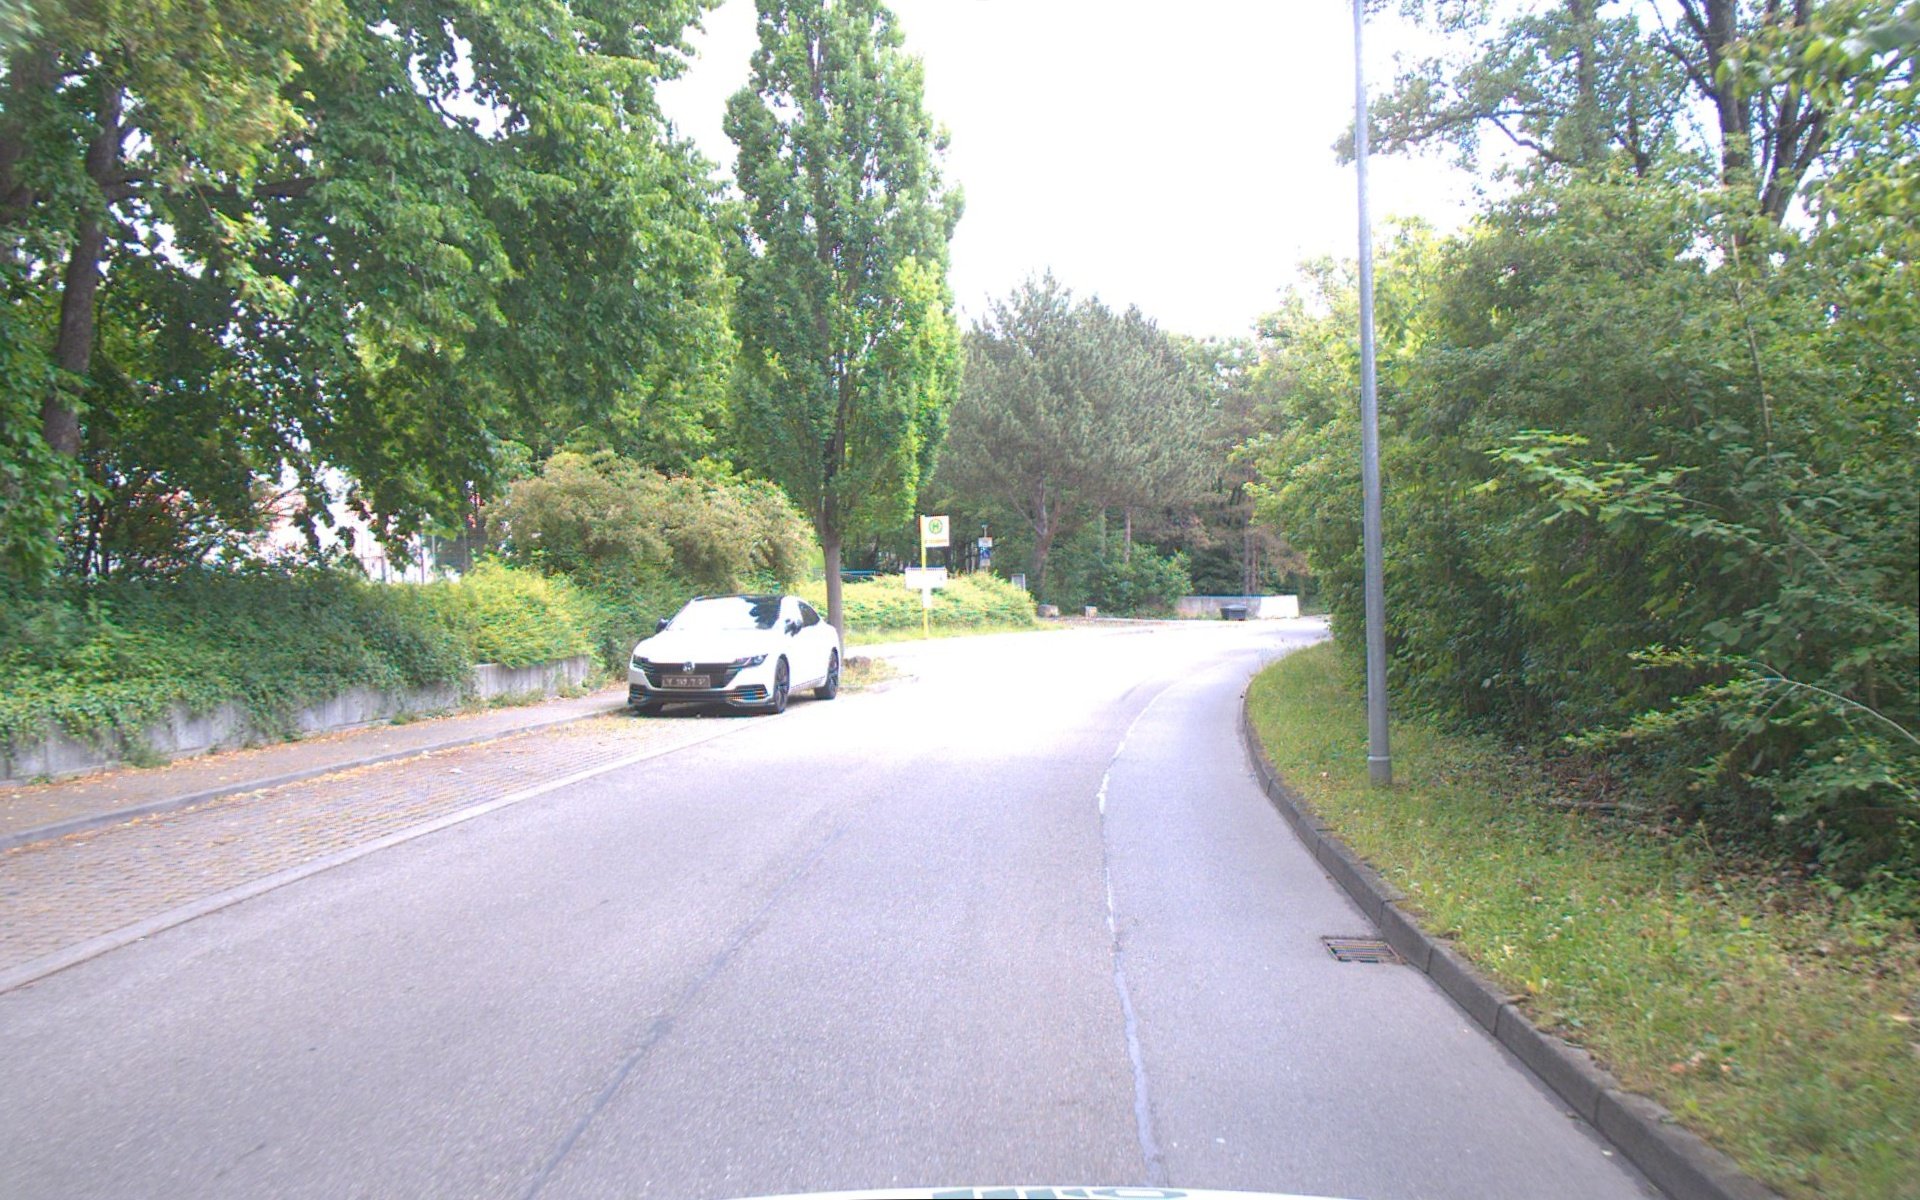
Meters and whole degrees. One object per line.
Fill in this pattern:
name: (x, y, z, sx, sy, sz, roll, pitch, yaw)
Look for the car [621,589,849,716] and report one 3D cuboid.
car: (-2.744, 0.601, 21.184, 1.775, 1.449, 4.364, 0, 0, 8)
